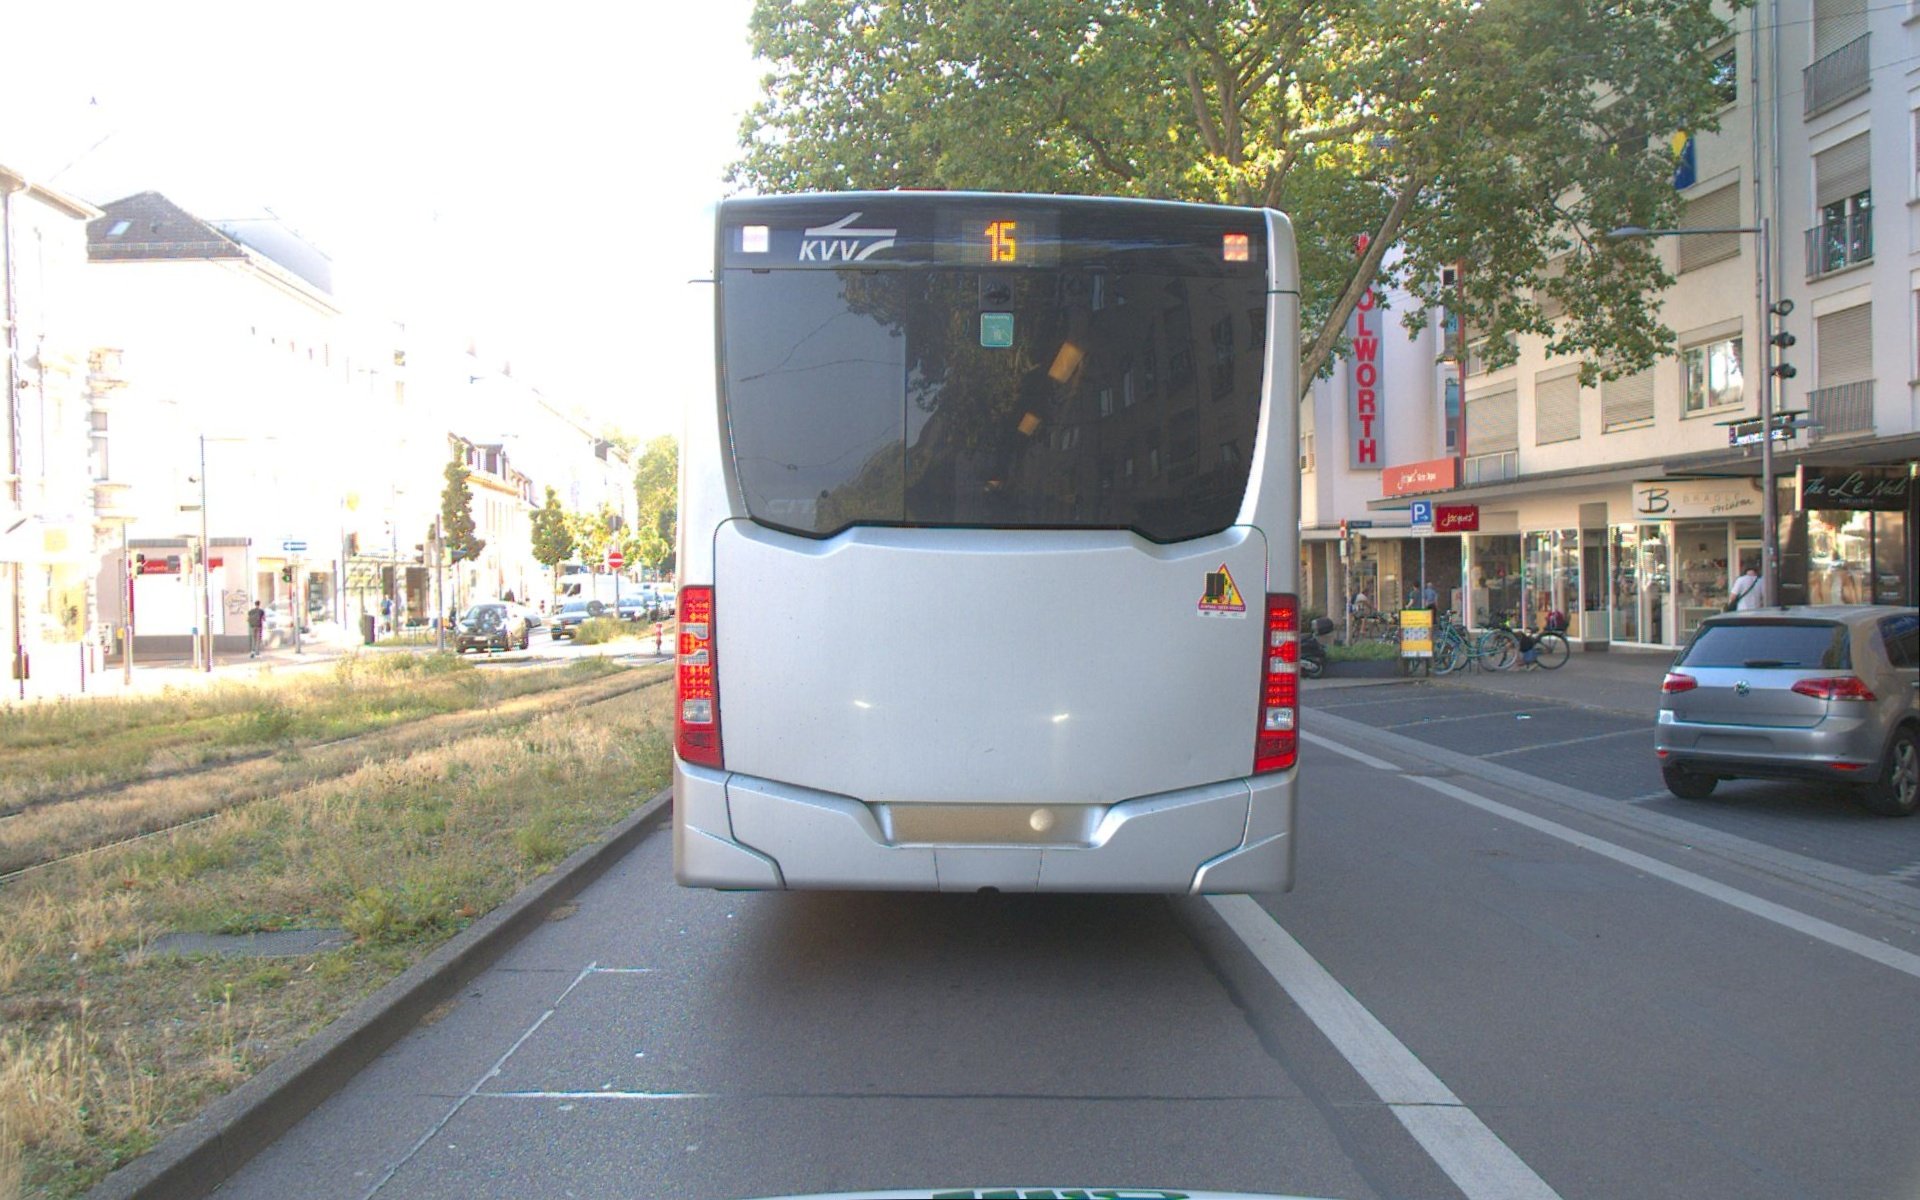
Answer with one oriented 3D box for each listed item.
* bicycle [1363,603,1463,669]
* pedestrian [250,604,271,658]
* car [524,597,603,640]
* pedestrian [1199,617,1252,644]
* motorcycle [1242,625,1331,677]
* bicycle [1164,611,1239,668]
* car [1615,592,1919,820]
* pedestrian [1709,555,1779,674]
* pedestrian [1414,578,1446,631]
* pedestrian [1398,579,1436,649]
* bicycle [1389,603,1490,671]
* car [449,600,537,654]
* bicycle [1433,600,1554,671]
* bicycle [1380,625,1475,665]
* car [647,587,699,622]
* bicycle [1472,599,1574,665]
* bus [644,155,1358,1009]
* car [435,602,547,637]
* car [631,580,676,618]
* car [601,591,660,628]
[{"bbox_3d":[9.312,0.730,34.077,1.836,1.210,0.712,-4,0,8],"label":"bicycle"},{"bbox_3d":[-22.887,1.022,54.095,0.417,1.743,0.508,-1,0,3],"label":"pedestrian"},{"bbox_3d":[-15.510,0.680,64.963,1.953,1.586,4.774,-1,0,0],"label":"car"},{"bbox_3d":[6.690,0.759,41.712,1.229,0.599,0.482,-3,0,-3],"label":"pedestrian"},{"bbox_3d":[6.068,0.935,30.770,1.539,0.908,0.544,-1,0,-4],"label":"motorcycle"},{"bbox_3d":[5.110,0.837,35.028,1.478,1.124,0.460,2,0,0],"label":"bicycle"},{"bbox_3d":[7.092,0.699,13.030,4.136,1.477,1.785,-1,0,-39],"label":"car"},{"bbox_3d":[12.794,0.229,26.998,0.632,1.909,0.821,-1,0,-14],"label":"pedestrian"},{"bbox_3d":[15.625,0.137,54.999,0.733,1.708,0.834,-1,2,-7],"label":"pedestrian"},{"bbox_3d":[12.146,0.371,43.935,0.764,1.825,0.764,-1,0,-1],"label":"pedestrian"},{"bbox_3d":[9.586,0.737,33.071,1.753,1.210,0.671,-4,0,-9],"label":"bicycle"},{"bbox_3d":[-14.777,0.826,52.522,1.687,1.535,3.476,-4,0,0],"label":"car"},{"bbox_3d":[10.166,0.669,31.572,2.037,1.254,0.832,-2,0,4],"label":"bicycle"},{"bbox_3d":[9.879,0.951,35.012,1.836,0.778,0.712,-1,1,8],"label":"bicycle"},{"bbox_3d":[-14.793,0.202,85.474,1.744,1.643,4.509,-2,1,1],"label":"car"},{"bbox_3d":[10.876,0.619,32.008,1.726,1.174,0.679,-3,0,8],"label":"bicycle"},{"bbox_3d":[0.176,-0.099,9.638,2.623,3.137,7.114,0,0,0],"label":"bus"},{"bbox_3d":[-21.170,0.863,74.747,4.504,1.437,1.974,-1,0,-37],"label":"car"},{"bbox_3d":[-17.007,-0.062,91.899,1.954,2.049,3.997,-1,0,-3],"label":"car"},{"bbox_3d":[-15.388,0.431,77.415,1.744,1.475,4.045,-3,1,1],"label":"car"}]
